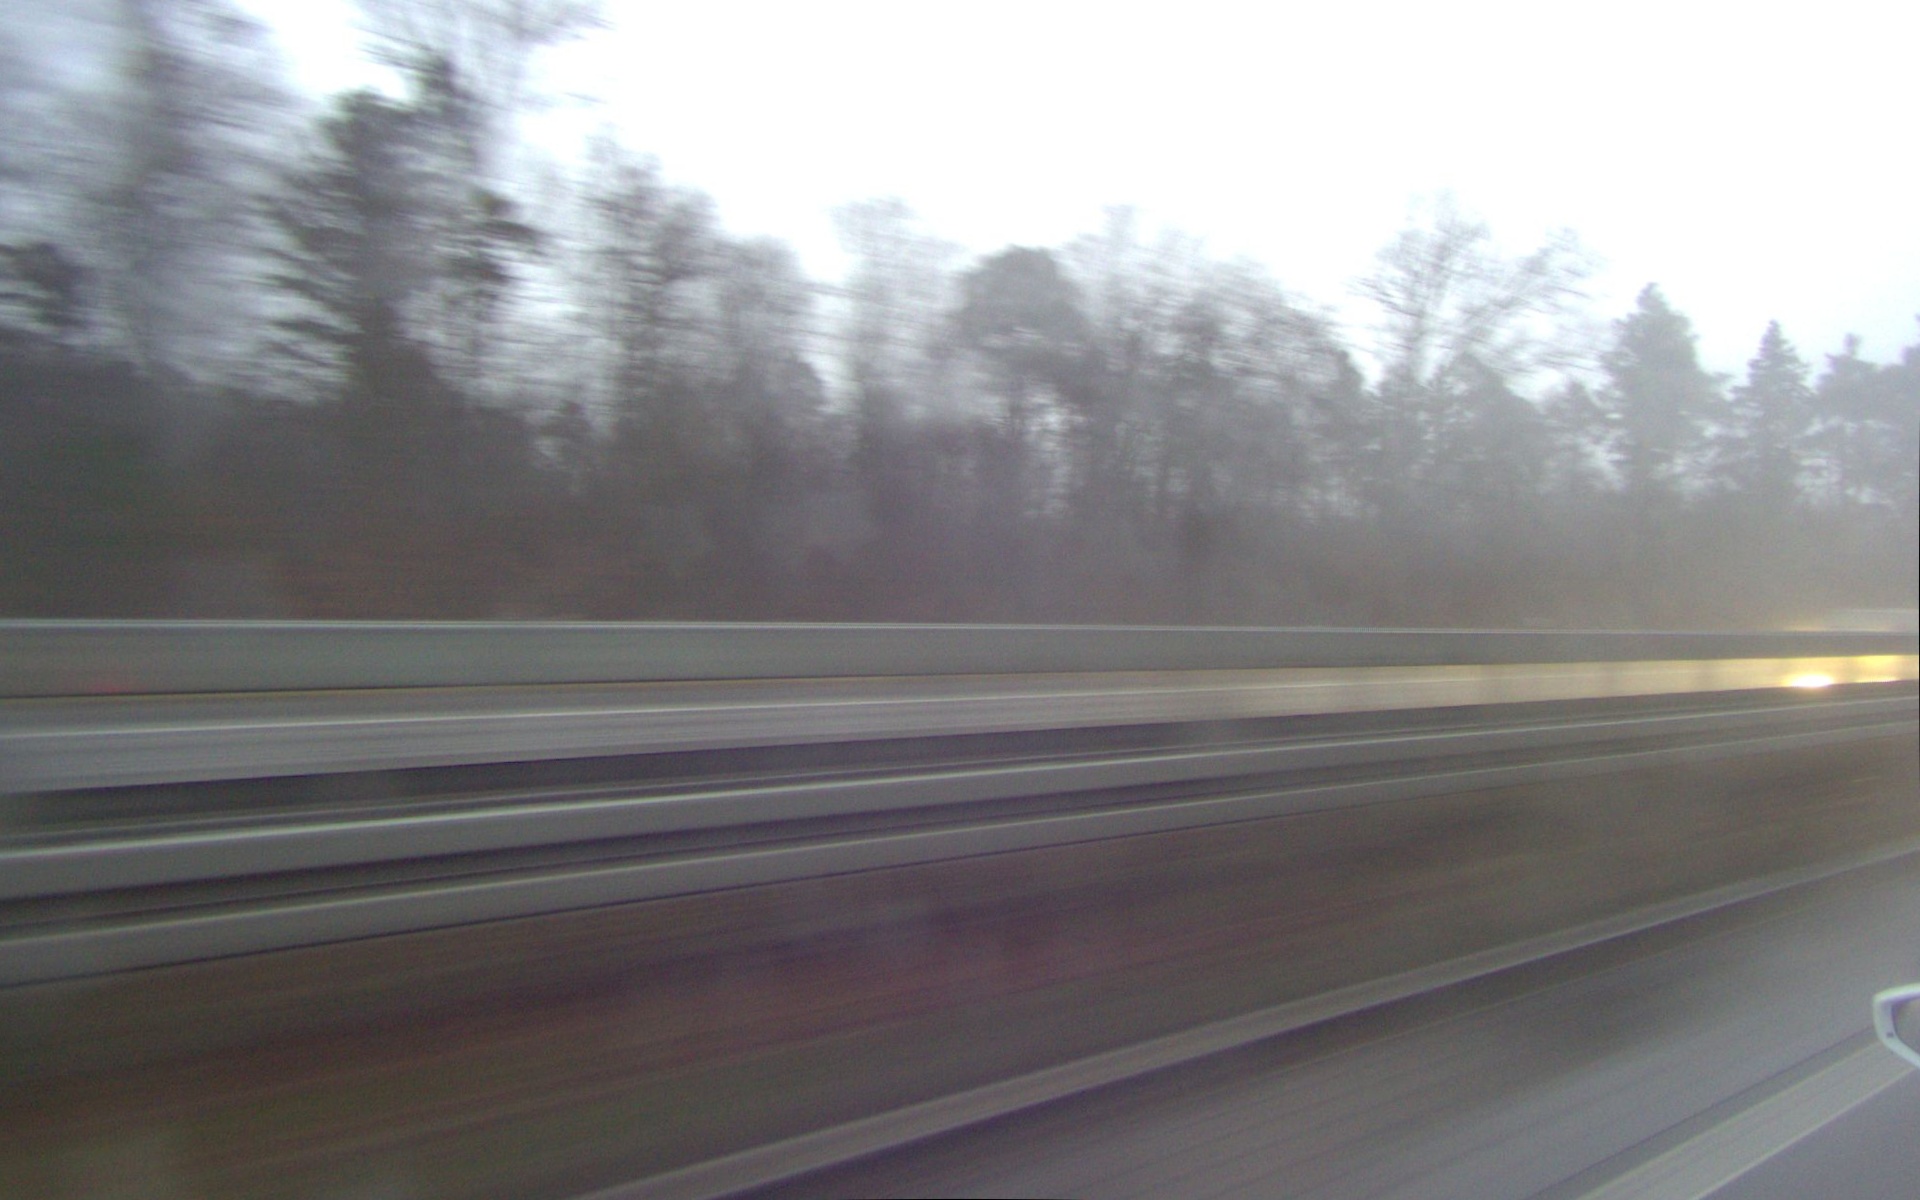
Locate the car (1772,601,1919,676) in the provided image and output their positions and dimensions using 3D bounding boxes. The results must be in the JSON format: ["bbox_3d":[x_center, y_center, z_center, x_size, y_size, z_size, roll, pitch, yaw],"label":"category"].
[{"bbox_3d":[25.673,1.082,28.948,4.655,1.976,1.984,1,0,-30],"label":"car"}]
